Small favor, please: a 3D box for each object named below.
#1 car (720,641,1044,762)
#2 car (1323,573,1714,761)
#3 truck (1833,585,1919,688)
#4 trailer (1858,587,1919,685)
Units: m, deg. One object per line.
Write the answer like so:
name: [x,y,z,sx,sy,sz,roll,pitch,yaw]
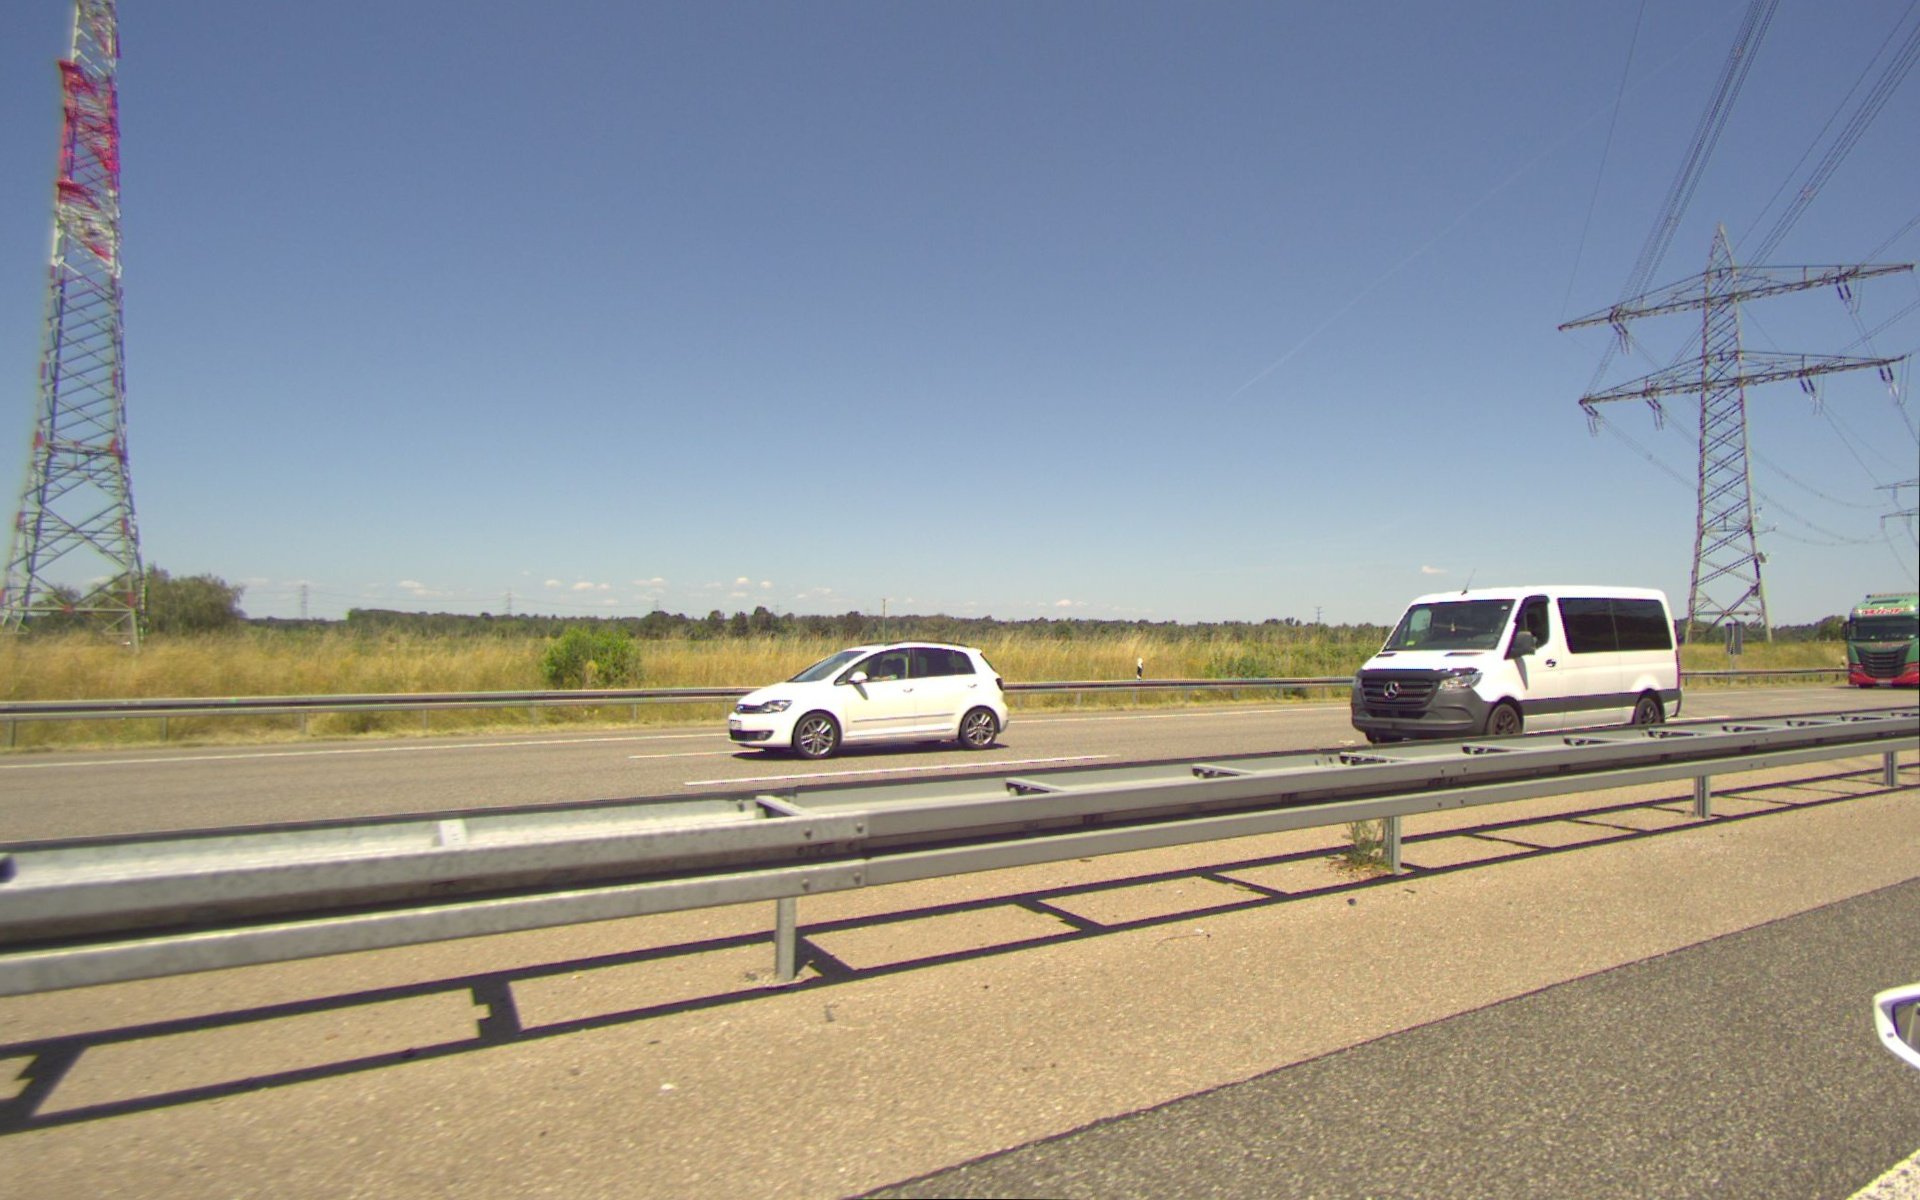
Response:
car: [-1.079,1.410,14.688,4.462,1.543,1.700,2,-5,-31]
car: [8.538,0.952,15.091,6.630,2.328,2.098,2,-3,-31]
truck: [40.857,1.600,43.441,6.504,4.188,2.686,2,-3,-31]
trailer: [46.113,1.735,46.565,13.755,4.138,2.656,2,-3,-31]
